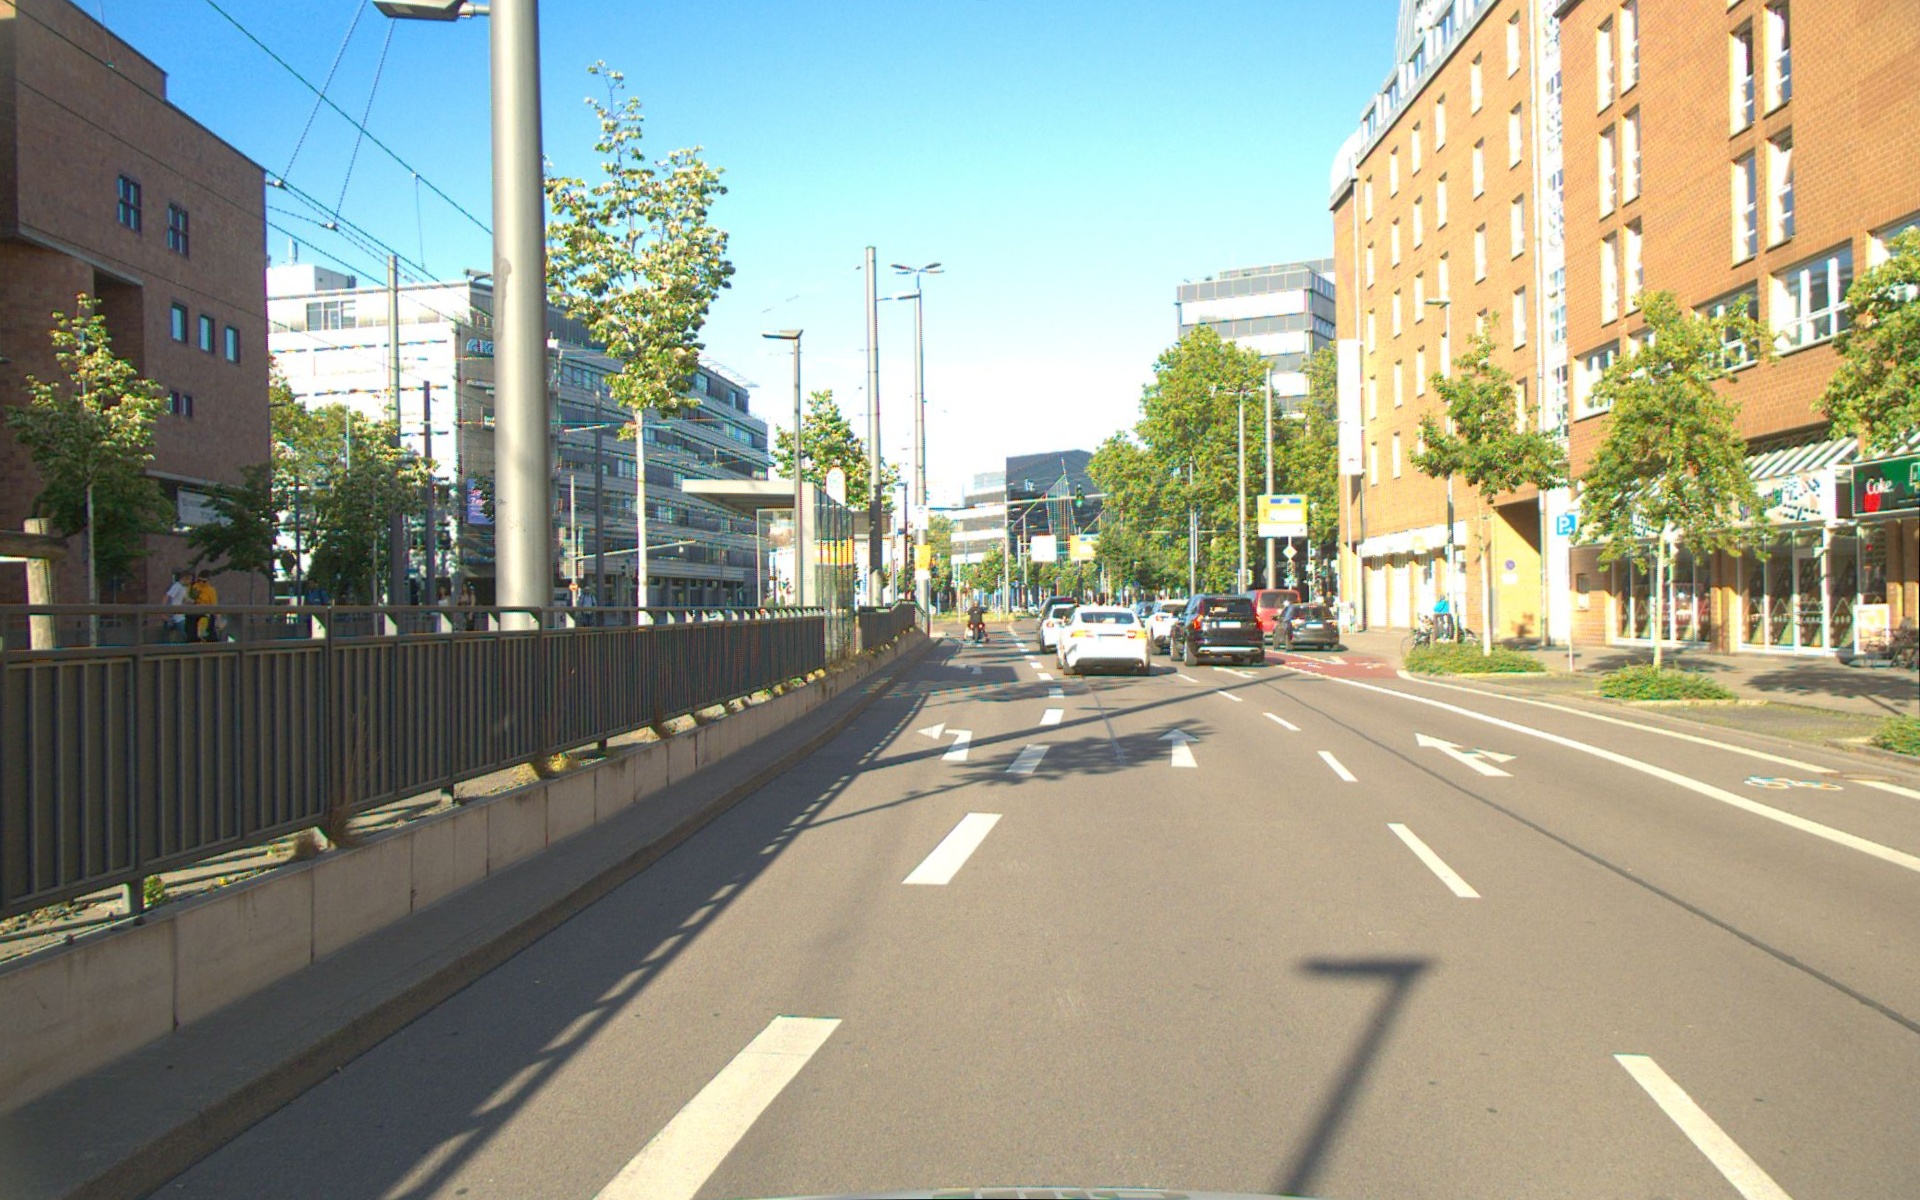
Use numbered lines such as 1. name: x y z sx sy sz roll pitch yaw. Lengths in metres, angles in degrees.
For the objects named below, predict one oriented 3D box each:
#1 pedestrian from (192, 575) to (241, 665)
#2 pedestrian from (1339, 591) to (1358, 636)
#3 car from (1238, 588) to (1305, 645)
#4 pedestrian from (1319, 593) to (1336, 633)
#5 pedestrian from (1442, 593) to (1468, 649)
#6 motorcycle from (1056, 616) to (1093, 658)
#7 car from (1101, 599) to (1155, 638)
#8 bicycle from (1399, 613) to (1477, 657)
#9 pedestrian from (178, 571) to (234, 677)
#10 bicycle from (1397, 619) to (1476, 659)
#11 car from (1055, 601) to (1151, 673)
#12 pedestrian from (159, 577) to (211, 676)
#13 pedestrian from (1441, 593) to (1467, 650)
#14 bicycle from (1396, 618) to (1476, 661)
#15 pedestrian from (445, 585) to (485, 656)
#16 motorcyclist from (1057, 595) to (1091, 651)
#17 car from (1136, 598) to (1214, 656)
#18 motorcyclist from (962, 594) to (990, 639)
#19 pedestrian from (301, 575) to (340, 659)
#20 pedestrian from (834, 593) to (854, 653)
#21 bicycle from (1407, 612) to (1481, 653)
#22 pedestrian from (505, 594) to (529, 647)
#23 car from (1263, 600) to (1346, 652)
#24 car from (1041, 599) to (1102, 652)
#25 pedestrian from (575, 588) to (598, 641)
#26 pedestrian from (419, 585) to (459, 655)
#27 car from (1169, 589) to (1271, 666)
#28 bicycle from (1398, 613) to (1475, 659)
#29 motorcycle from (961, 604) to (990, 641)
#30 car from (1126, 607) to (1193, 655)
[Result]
1. pedestrian: -13.675 0.370 30.440 0.610 1.640 0.616 0 0 1
2. pedestrian: 16.109 0.571 68.605 0.594 1.853 0.748 -1 -1 0
3. car: 11.373 0.576 60.535 1.822 1.995 4.001 -1 0 2
4. pedestrian: 16.862 0.599 75.966 0.594 1.853 0.748 -1 -1 0
5. pedestrian: 16.552 0.716 55.326 0.594 1.853 0.748 -1 -1 0
6. motorcycle: 3.105 0.990 45.048 0.820 1.081 2.552 -1 0 0
7. car: 6.757 0.715 66.933 1.812 1.524 4.379 0 0 1
8. bicycle: 12.530 0.916 43.389 1.903 1.094 0.555 -2 -1 12
9. pedestrian: -12.441 0.388 27.295 0.627 1.725 0.541 1 0 1
10. bicycle: 12.305 1.004 42.682 1.904 0.986 0.554 -2 -1 18
11. car: 3.066 0.763 36.352 1.744 1.439 4.819 1 0 1
12. pedestrian: -13.746 0.469 29.351 0.610 1.745 0.616 0 0 1
13. pedestrian: 16.256 0.701 54.429 0.594 1.853 0.748 -1 -1 0
14. bicycle: 12.138 1.007 42.169 1.904 1.040 0.502 -2 -1 18
15. pedestrian: -11.901 0.484 39.792 0.627 1.672 0.945 1 0 1
16. motorcyclist: 3.090 0.618 45.014 0.820 1.501 1.236 -1 0 0
17. car: 6.388 0.809 49.553 1.812 1.668 4.379 0 -1 1
18. motorcyclist: 0.594 0.616 62.046 0.998 1.631 1.148 1 0 1
19. pedestrian: -13.553 0.361 35.044 0.569 1.769 0.616 0 0 1
20. pedestrian: -3.288 0.650 46.740 0.508 1.698 0.550 0 0 1
21. bicycle: 13.525 0.904 46.277 1.903 1.093 0.626 -2 -1 13
22. pedestrian: -13.926 0.648 52.016 0.551 1.637 0.616 0 0 1
23. car: 11.193 0.809 53.997 1.808 1.588 4.633 1 0 1
24. car: 3.355 0.752 50.363 1.658 1.523 4.409 1 0 1
25. pedestrian: -13.307 0.518 58.962 0.601 1.849 0.897 0 0 1
26. pedestrian: -12.534 0.478 39.802 0.627 1.636 0.945 1 0 1
27. car: 6.504 0.665 41.829 1.934 1.790 4.633 1 0 1
28. bicycle: 12.644 0.942 43.907 1.903 1.157 0.491 -2 -1 12
29. motorcycle: 0.594 0.839 61.981 0.998 1.335 2.915 1 0 1
30. car: 6.706 1.028 55.909 1.812 1.524 4.379 0 0 1
